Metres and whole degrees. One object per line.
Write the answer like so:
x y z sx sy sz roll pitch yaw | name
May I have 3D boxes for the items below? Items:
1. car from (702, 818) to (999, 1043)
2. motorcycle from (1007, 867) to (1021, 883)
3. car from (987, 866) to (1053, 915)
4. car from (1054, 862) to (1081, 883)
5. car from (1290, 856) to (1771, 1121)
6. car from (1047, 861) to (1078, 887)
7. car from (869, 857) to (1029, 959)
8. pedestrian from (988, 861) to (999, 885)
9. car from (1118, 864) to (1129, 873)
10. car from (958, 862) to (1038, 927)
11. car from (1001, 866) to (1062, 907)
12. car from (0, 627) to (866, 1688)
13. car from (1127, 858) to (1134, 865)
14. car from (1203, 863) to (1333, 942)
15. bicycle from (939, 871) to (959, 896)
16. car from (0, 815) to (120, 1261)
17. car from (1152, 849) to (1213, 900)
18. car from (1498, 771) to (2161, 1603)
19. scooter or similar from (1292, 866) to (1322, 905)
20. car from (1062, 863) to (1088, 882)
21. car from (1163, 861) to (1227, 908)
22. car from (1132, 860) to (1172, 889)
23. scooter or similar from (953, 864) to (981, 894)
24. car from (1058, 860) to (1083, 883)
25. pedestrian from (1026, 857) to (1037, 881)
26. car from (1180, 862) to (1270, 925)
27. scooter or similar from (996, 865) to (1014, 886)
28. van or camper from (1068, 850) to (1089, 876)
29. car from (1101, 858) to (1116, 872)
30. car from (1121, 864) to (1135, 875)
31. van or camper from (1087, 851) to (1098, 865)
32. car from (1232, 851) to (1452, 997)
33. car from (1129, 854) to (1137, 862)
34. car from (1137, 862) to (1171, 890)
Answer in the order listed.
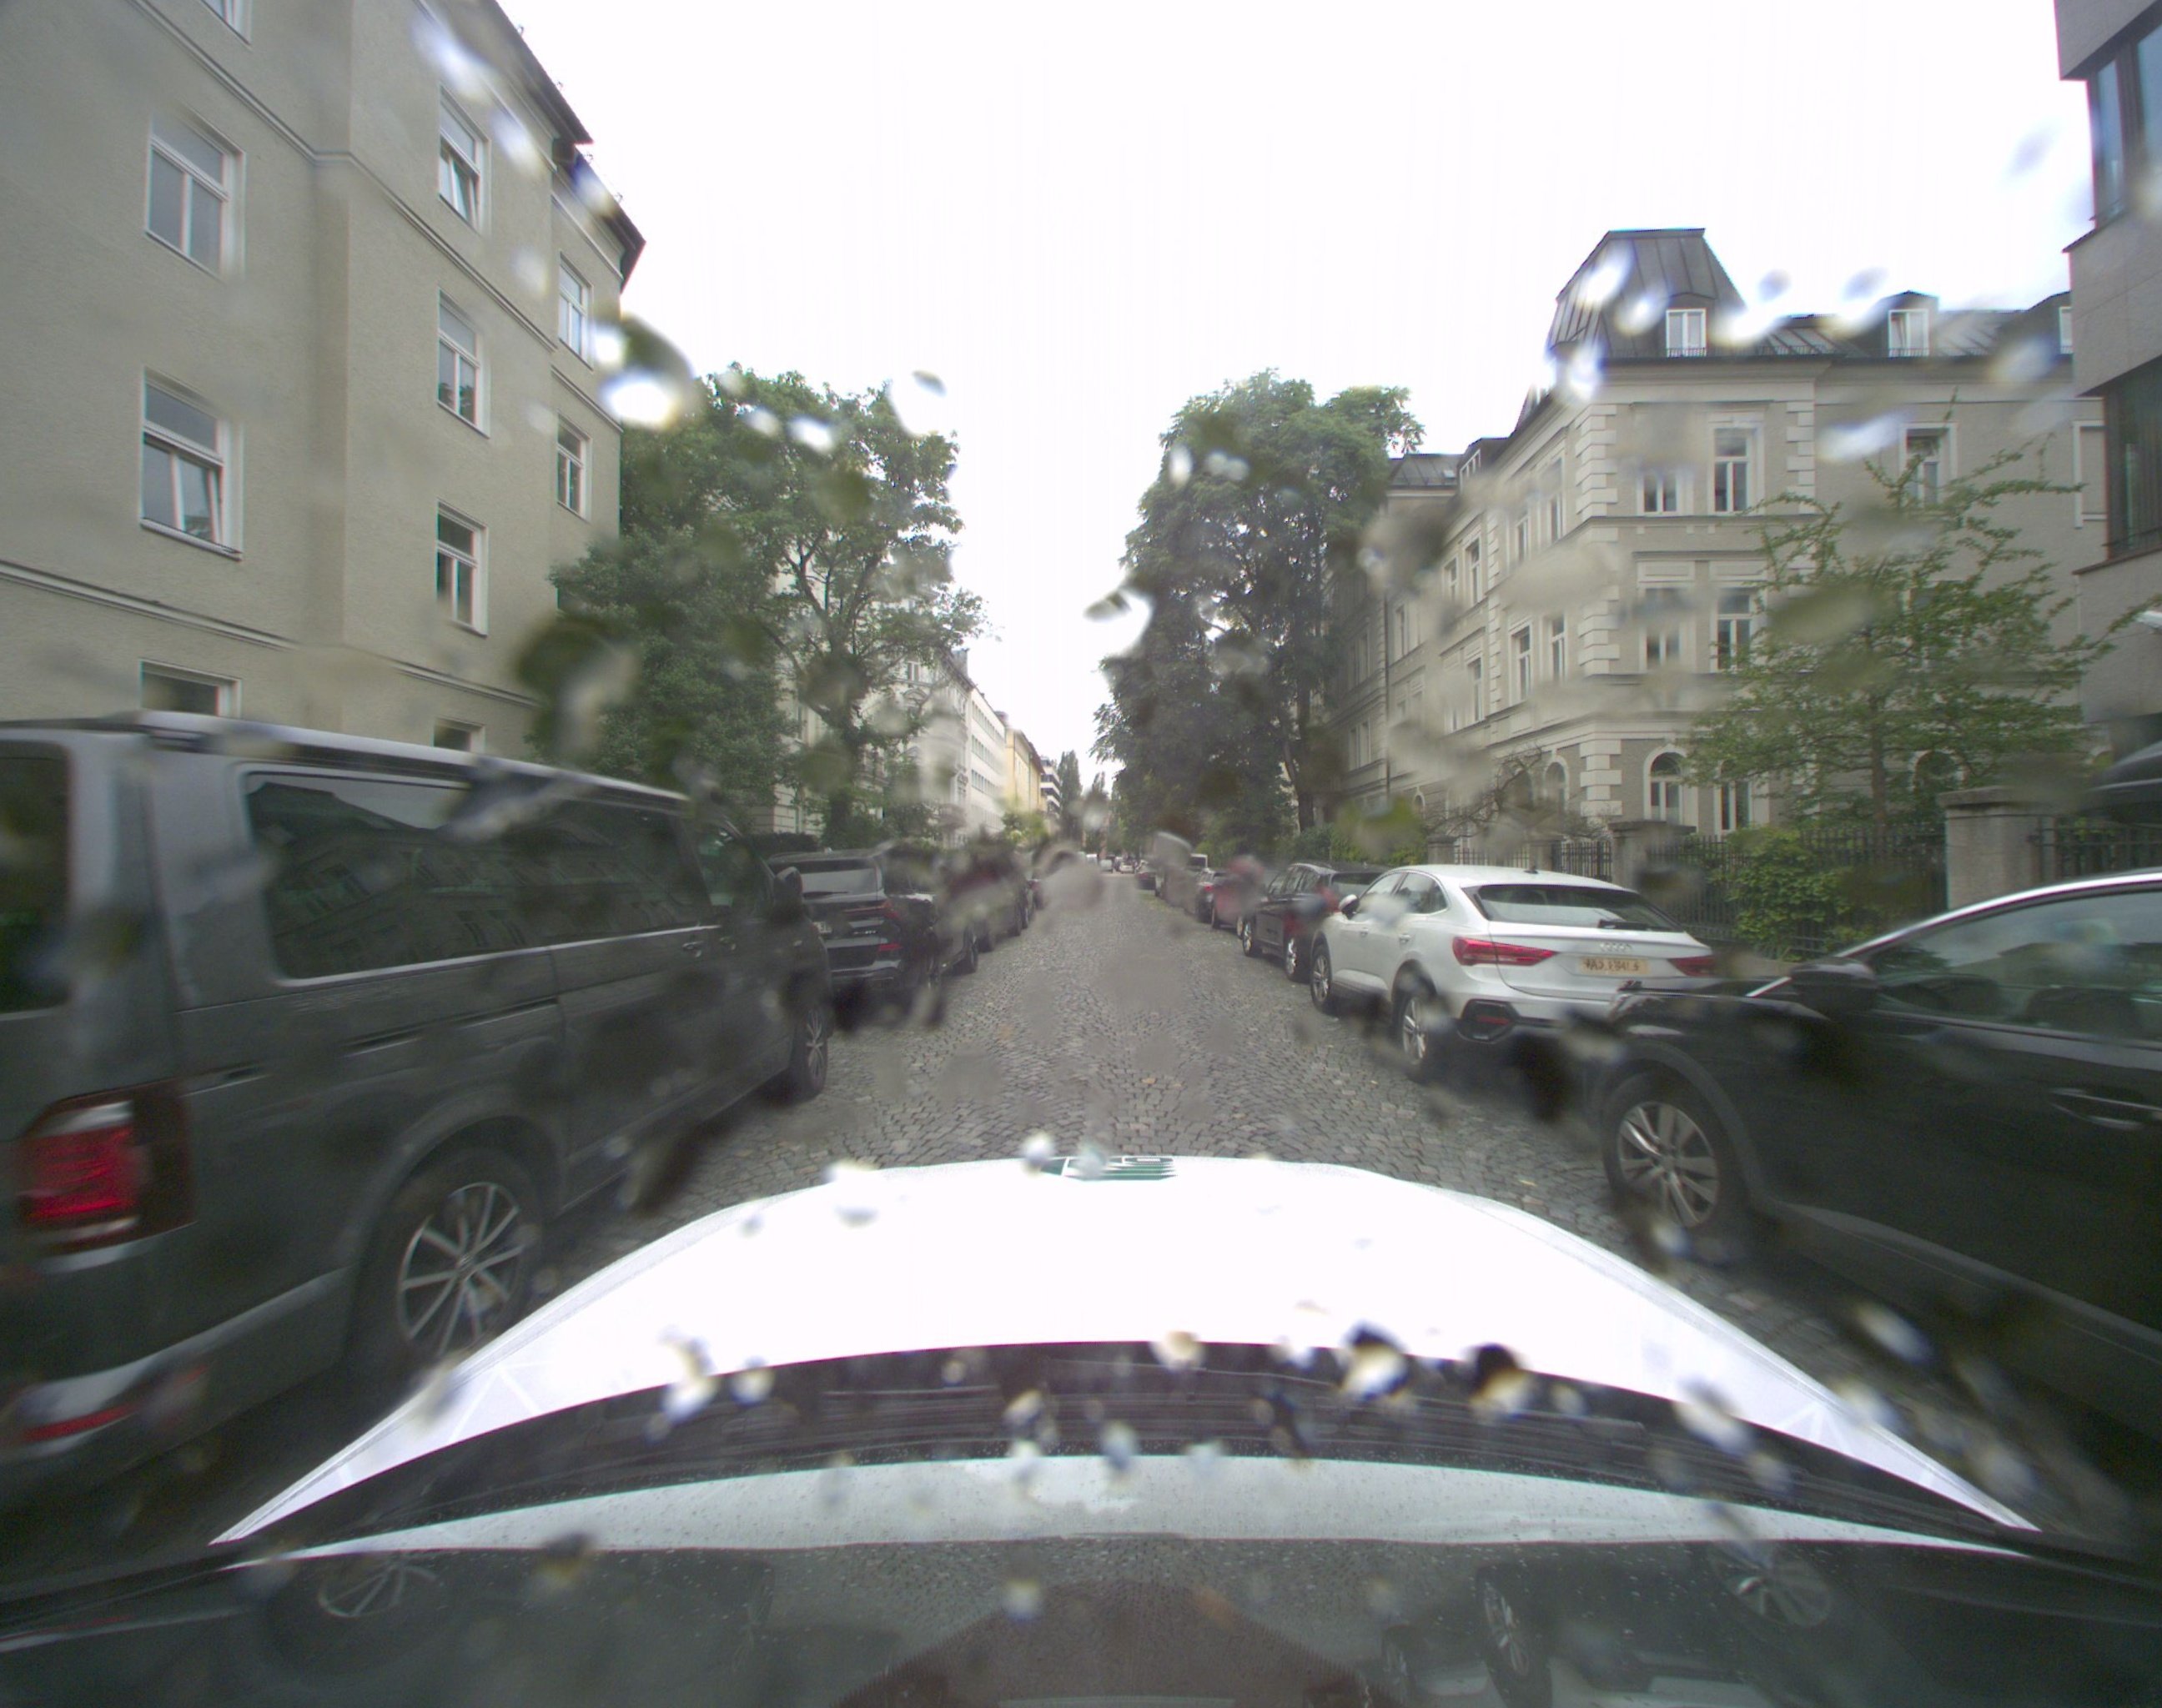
-2.361 0.726 10.004 1.986 1.917 5.177 -4 -1 1 | car
-5.167 1.628 62.849 0.619 1.197 1.870 0 -1 11 | motorcycle
-1.988 1.172 27.845 1.777 1.417 4.497 -3 -1 0 | car
-0.985 1.364 60.863 1.867 1.451 4.206 -2 -1 0 | car
3.244 0.799 7.131 1.865 1.490 4.621 2 0 3 | car
-1.205 1.318 54.834 1.867 1.580 4.254 -3 -1 0 | car
-2.297 0.897 15.619 1.970 1.561 5.020 -2 -1 3 | car
-6.184 1.348 57.780 0.715 1.687 0.695 0 -1 1 | pedestrian
6.726 2.294 129.072 1.783 1.520 4.002 0 -1 2 | car
-2.001 0.957 20.662 1.657 1.444 4.169 -1 -1 -1 | car
-1.899 1.249 32.596 1.879 1.417 4.409 -3 -1 2 | car
-2.674 0.607 3.897 1.867 1.917 4.827 -2 -1 1 | car
14.298 2.134 235.851 1.986 2.014 4.002 0 -1 2 | car
3.913 0.965 17.711 1.690 1.440 4.057 2 -1 -3 | car
-6.127 1.351 37.817 0.575 1.122 2.051 0 -1 0 | bicycle
-5.164 0.649 1.145 1.938 1.735 4.657 3 -1 1 | car
4.214 0.840 34.689 1.867 1.928 5.162 2 -1 0 | car
3.217 0.741 1.996 1.867 1.735 4.746 3 -1 -1 | car
7.592 1.046 27.360 0.414 1.234 1.242 -3 0 -10 | scooter or similar
-0.465 1.645 72.552 1.864 1.580 4.213 2 -1 5 | car
4.006 1.039 29.206 1.829 1.490 4.424 2 -1 3 | car
4.045 1.127 46.909 1.867 1.503 4.510 2 -1 0 | car
-5.657 1.220 40.506 0.938 1.442 2.656 1 -1 0 | scooter or similar
-0.837 1.421 67.190 1.867 1.776 4.122 -4 -1 1 | car
-3.995 1.223 65.735 0.789 1.917 0.759 1 -1 1 | pedestrian
3.786 0.989 22.103 1.707 1.472 4.269 2 -1 1 | car
-5.354 1.475 57.239 0.938 1.442 2.657 0 -1 2 | scooter or similar
-0.229 0.977 87.521 1.986 2.652 4.002 -3 -1 2 | van or camper
3.944 1.568 116.301 1.986 2.014 4.002 0 -1 2 | car
6.226 2.061 108.484 1.783 1.520 4.002 0 -1 2 | car
2.412 0.879 172.081 2.247 2.742 5.100 1 -1 2 | van or camper
3.570 0.870 12.104 1.866 1.670 4.659 2 -1 2 | car
13.496 0.947 211.304 1.986 2.014 4.002 0 -1 2 | car
4.611 1.377 52.124 1.811 1.580 4.208 3 -1 1 | car
